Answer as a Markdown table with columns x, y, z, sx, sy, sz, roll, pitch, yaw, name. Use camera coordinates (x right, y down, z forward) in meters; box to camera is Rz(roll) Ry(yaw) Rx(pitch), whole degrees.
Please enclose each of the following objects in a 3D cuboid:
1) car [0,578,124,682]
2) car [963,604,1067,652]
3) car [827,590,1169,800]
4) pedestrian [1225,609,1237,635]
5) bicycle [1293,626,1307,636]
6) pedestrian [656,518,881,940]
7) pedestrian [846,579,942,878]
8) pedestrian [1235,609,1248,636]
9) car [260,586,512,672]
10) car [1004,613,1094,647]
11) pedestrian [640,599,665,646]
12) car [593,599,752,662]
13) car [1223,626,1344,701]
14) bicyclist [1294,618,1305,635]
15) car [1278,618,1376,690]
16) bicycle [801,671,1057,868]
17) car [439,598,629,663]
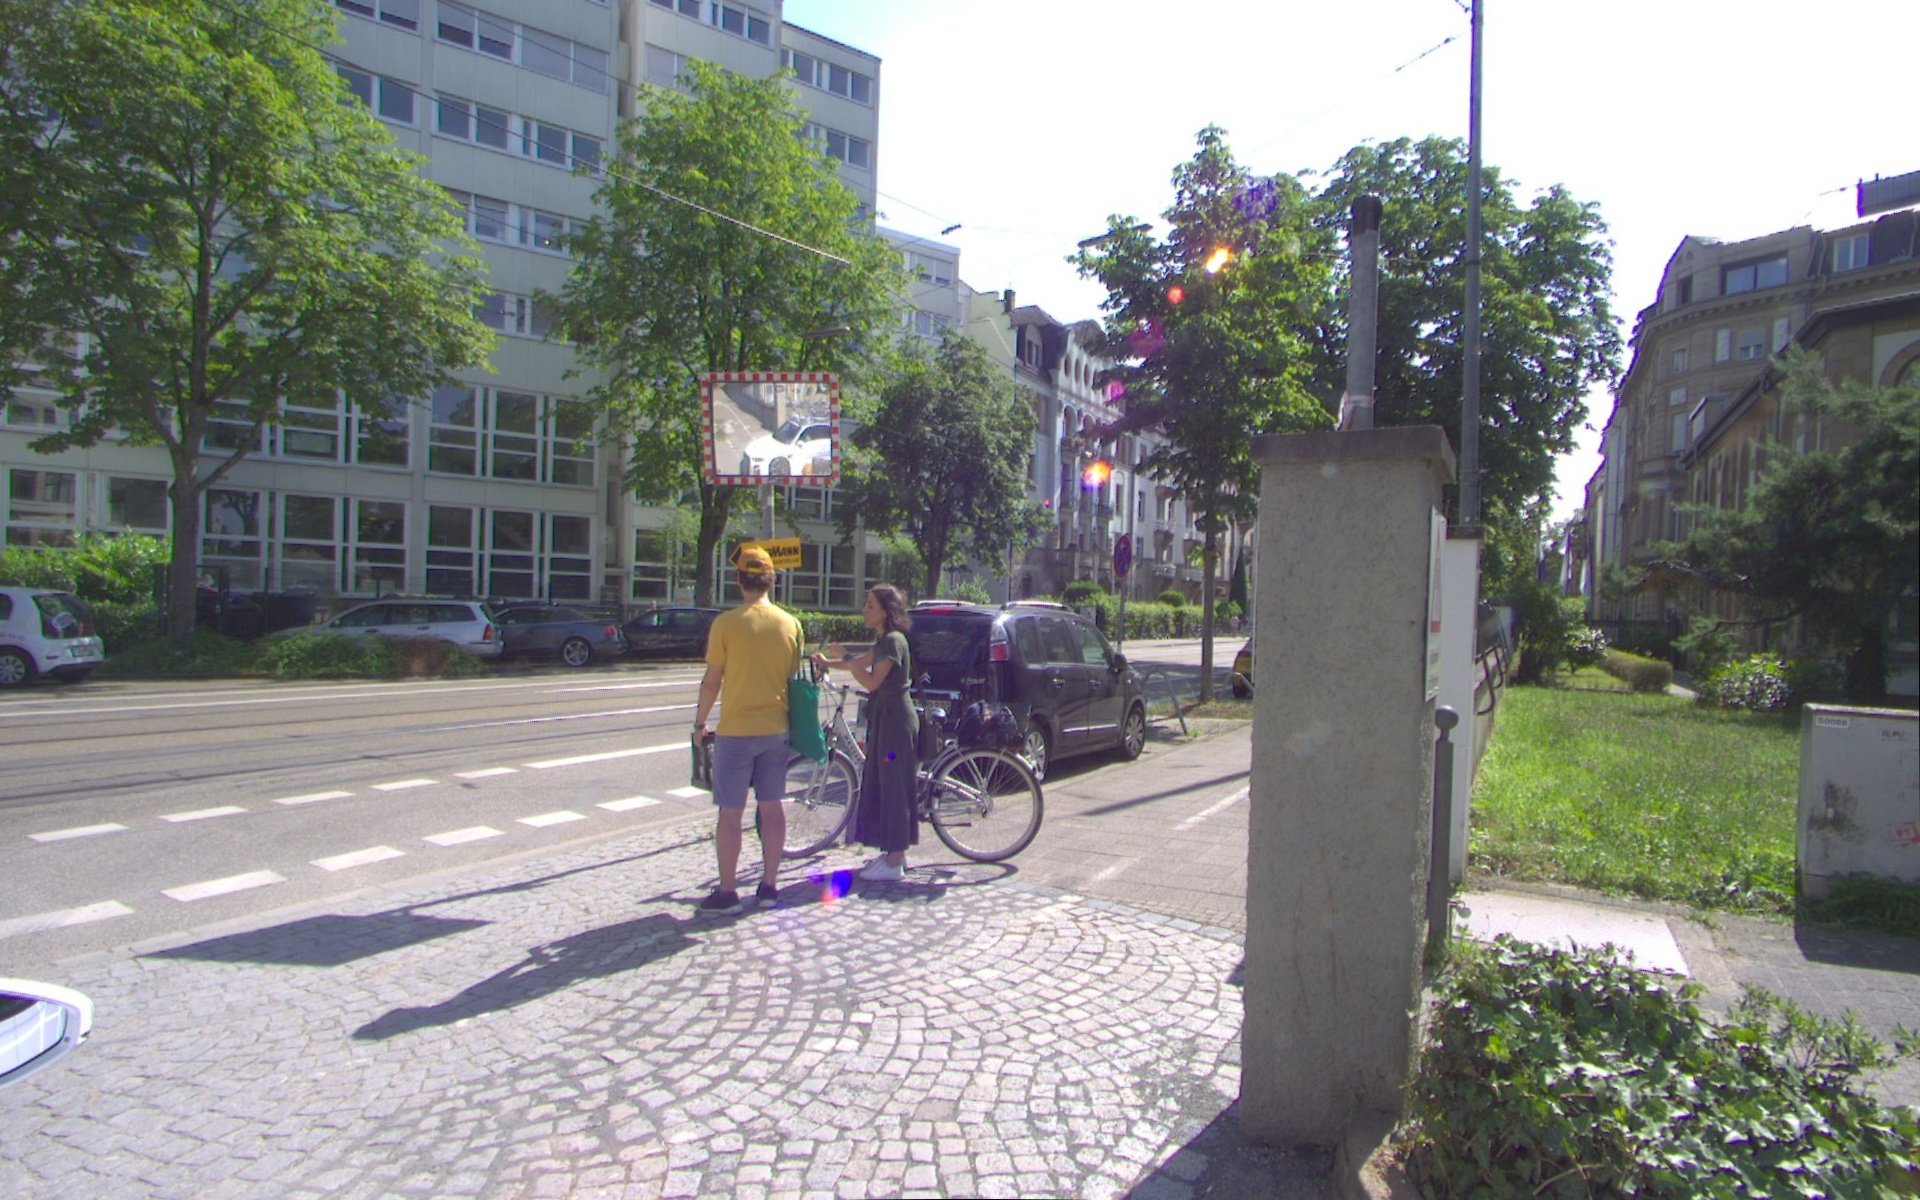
| x | y | z | sx | sy | sz | roll | pitch | yaw | name |
| --- | --- | --- | --- | --- | --- | --- | --- | --- | --- |
| -15.142 | 0.413 | 14.858 | 3.874 | 1.505 | 1.610 | 1 | 0 | -15 | car |
| 2.318 | 1.186 | 42.538 | 3.935 | 1.884 | 1.993 | 2 | 0 | -23 | car |
| 0.604 | 0.825 | 10.403 | 1.829 | 1.706 | 3.981 | 1 | -1 | 31 | car |
| 20.620 | 1.680 | 76.079 | 0.680 | 1.959 | 0.785 | 2 | 0 | 28 | pedestrian |
| 32.064 | 2.947 | 94.419 | 0.670 | 0.929 | 2.309 | 2 | 0 | 32 | bicycle |
| -0.981 | 0.586 | 5.048 | 0.842 | 1.889 | 0.825 | 1 | 0 | -32 | pedestrian |
| -0.372 | 0.717 | 5.760 | 0.445 | 1.642 | 0.422 | -1 | -1 | 12 | pedestrian |
| 21.308 | 1.699 | 75.783 | 0.680 | 1.959 | 0.785 | 2 | 0 | 28 | pedestrian |
| -11.715 | 0.618 | 20.749 | 4.270 | 1.625 | 1.555 | 2 | -1 | -18 | car |
| 4.363 | 1.472 | 49.196 | 3.929 | 1.528 | 1.997 | 2 | 0 | -16 | car |
| -9.835 | 0.706 | 32.045 | 0.417 | 1.480 | 0.620 | 2 | 0 | 27 | pedestrian |
| -7.535 | 0.797 | 26.452 | 3.875 | 1.505 | 1.556 | 2 | 0 | -16 | car |
| 7.191 | 1.325 | 22.009 | 1.828 | 1.430 | 3.984 | 1 | -1 | 28 | car |
| 32.004 | 2.532 | 94.429 | 0.793 | 1.563 | 0.860 | 2 | 0 | 33 | bicyclist |
| 9.753 | 1.375 | 26.438 | 1.828 | 1.702 | 3.984 | 1 | -1 | 28 | car |
| -0.186 | 0.996 | 6.079 | 1.484 | 1.055 | 0.363 | 2 | 0 | 12 | bicycle |
| -9.873 | 0.715 | 23.494 | 3.875 | 1.375 | 1.556 | 2 | 0 | -16 | car |
